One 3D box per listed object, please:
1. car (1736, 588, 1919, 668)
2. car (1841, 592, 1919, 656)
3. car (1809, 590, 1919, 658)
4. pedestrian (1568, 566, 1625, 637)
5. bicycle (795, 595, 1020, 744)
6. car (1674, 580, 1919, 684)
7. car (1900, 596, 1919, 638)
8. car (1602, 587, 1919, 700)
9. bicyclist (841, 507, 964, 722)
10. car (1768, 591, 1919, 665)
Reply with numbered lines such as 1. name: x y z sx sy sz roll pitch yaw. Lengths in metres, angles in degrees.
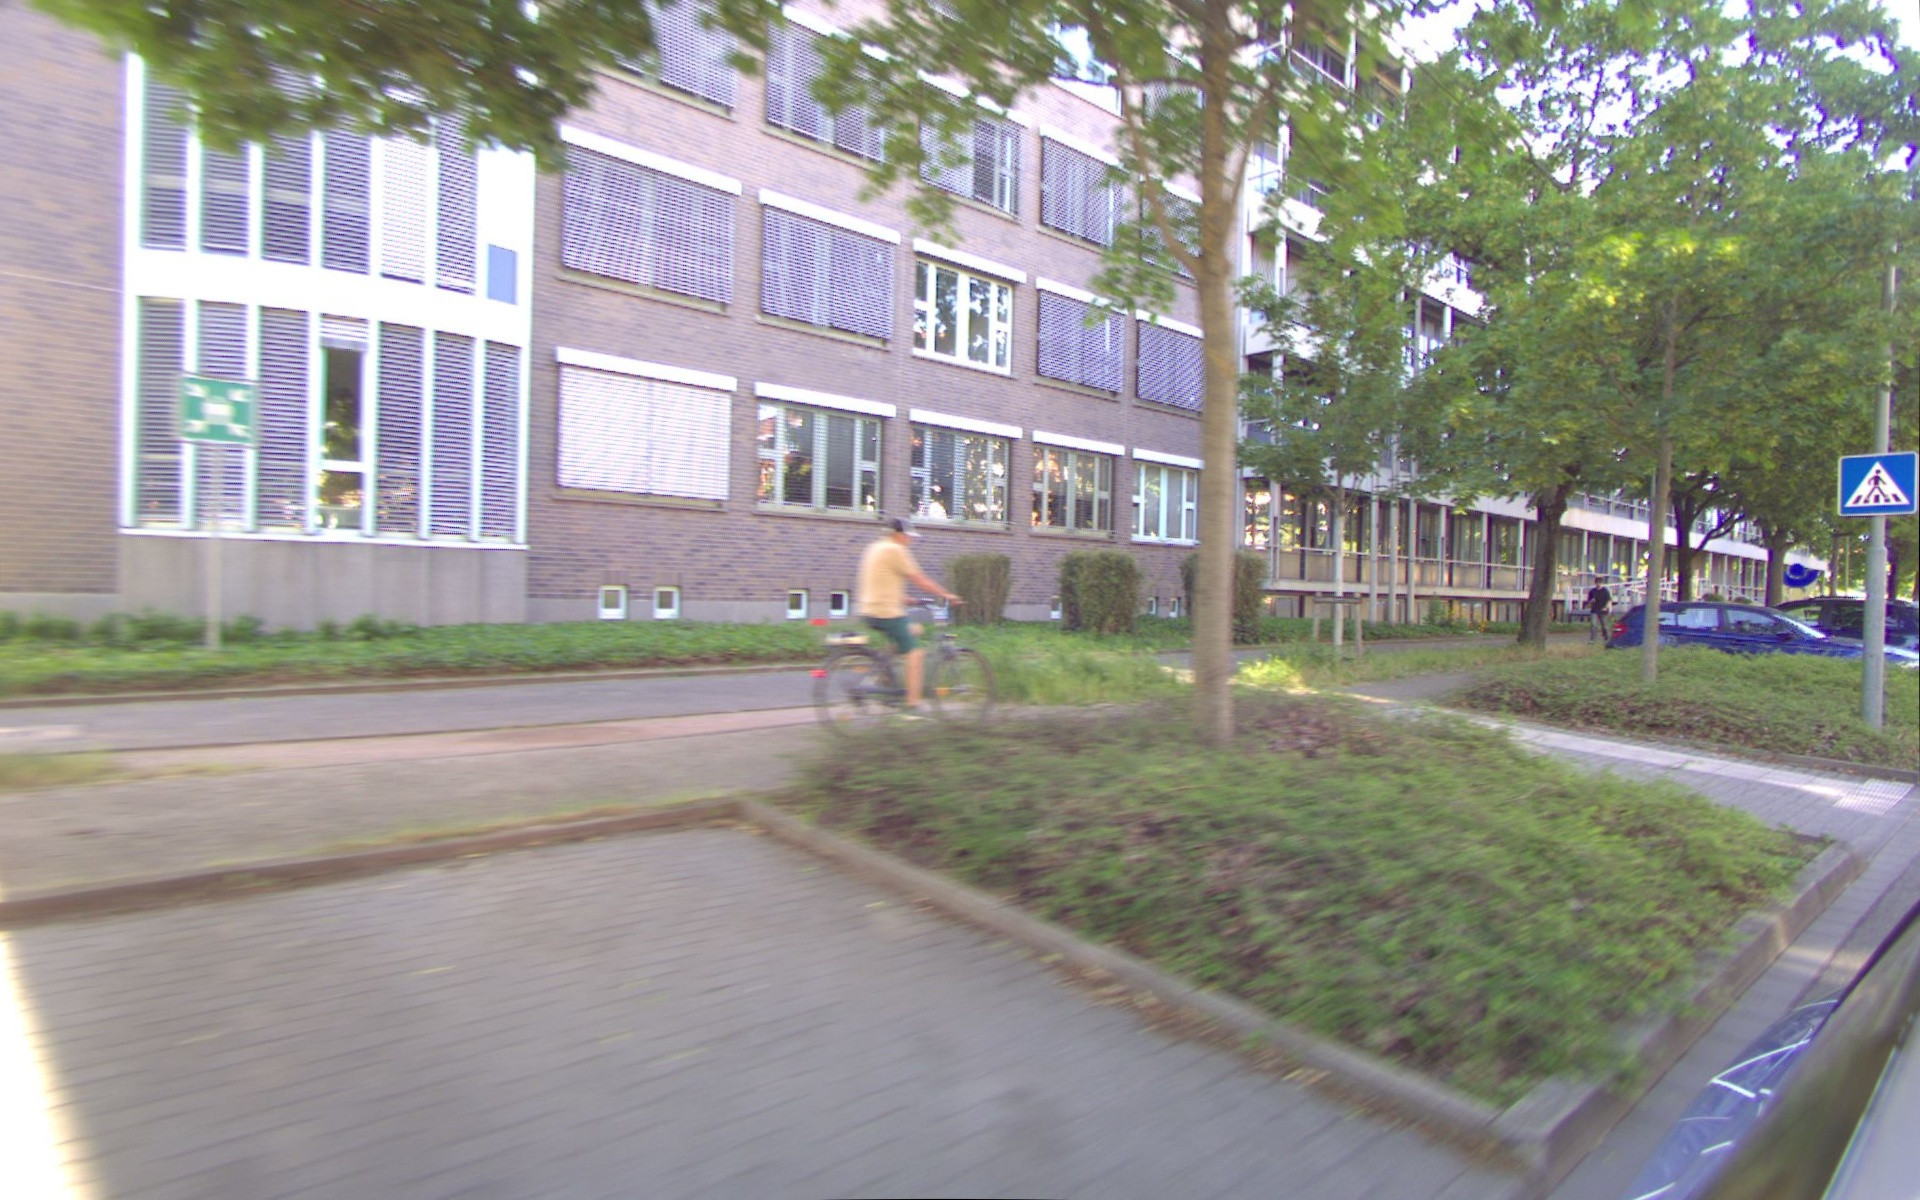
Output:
1. car: 19.539 0.603 21.877 1.633 1.479 4.129 1 3 -44
2. car: 26.759 0.667 27.476 1.876 1.687 4.128 1 1 -44
3. car: 24.361 0.633 25.715 1.683 1.604 3.997 1 2 -38
4. pedestrian: 16.698 0.047 26.547 1.001 1.821 1.036 1 -1 -41
5. bicycle: -0.389 0.525 8.314 1.885 1.092 0.535 1 1 -40
6. car: 16.210 0.540 19.154 1.633 1.609 4.129 -1 5 -44
7. car: 37.059 0.754 36.760 1.682 1.513 4.000 1 3 -37
8. car: 12.859 0.602 16.128 1.627 1.387 4.121 1 3 -43
9. bicyclist: -0.463 0.109 8.242 0.808 1.657 0.538 1 0 -40
10. car: 21.561 0.644 23.533 1.807 1.536 4.128 0 2 -45
